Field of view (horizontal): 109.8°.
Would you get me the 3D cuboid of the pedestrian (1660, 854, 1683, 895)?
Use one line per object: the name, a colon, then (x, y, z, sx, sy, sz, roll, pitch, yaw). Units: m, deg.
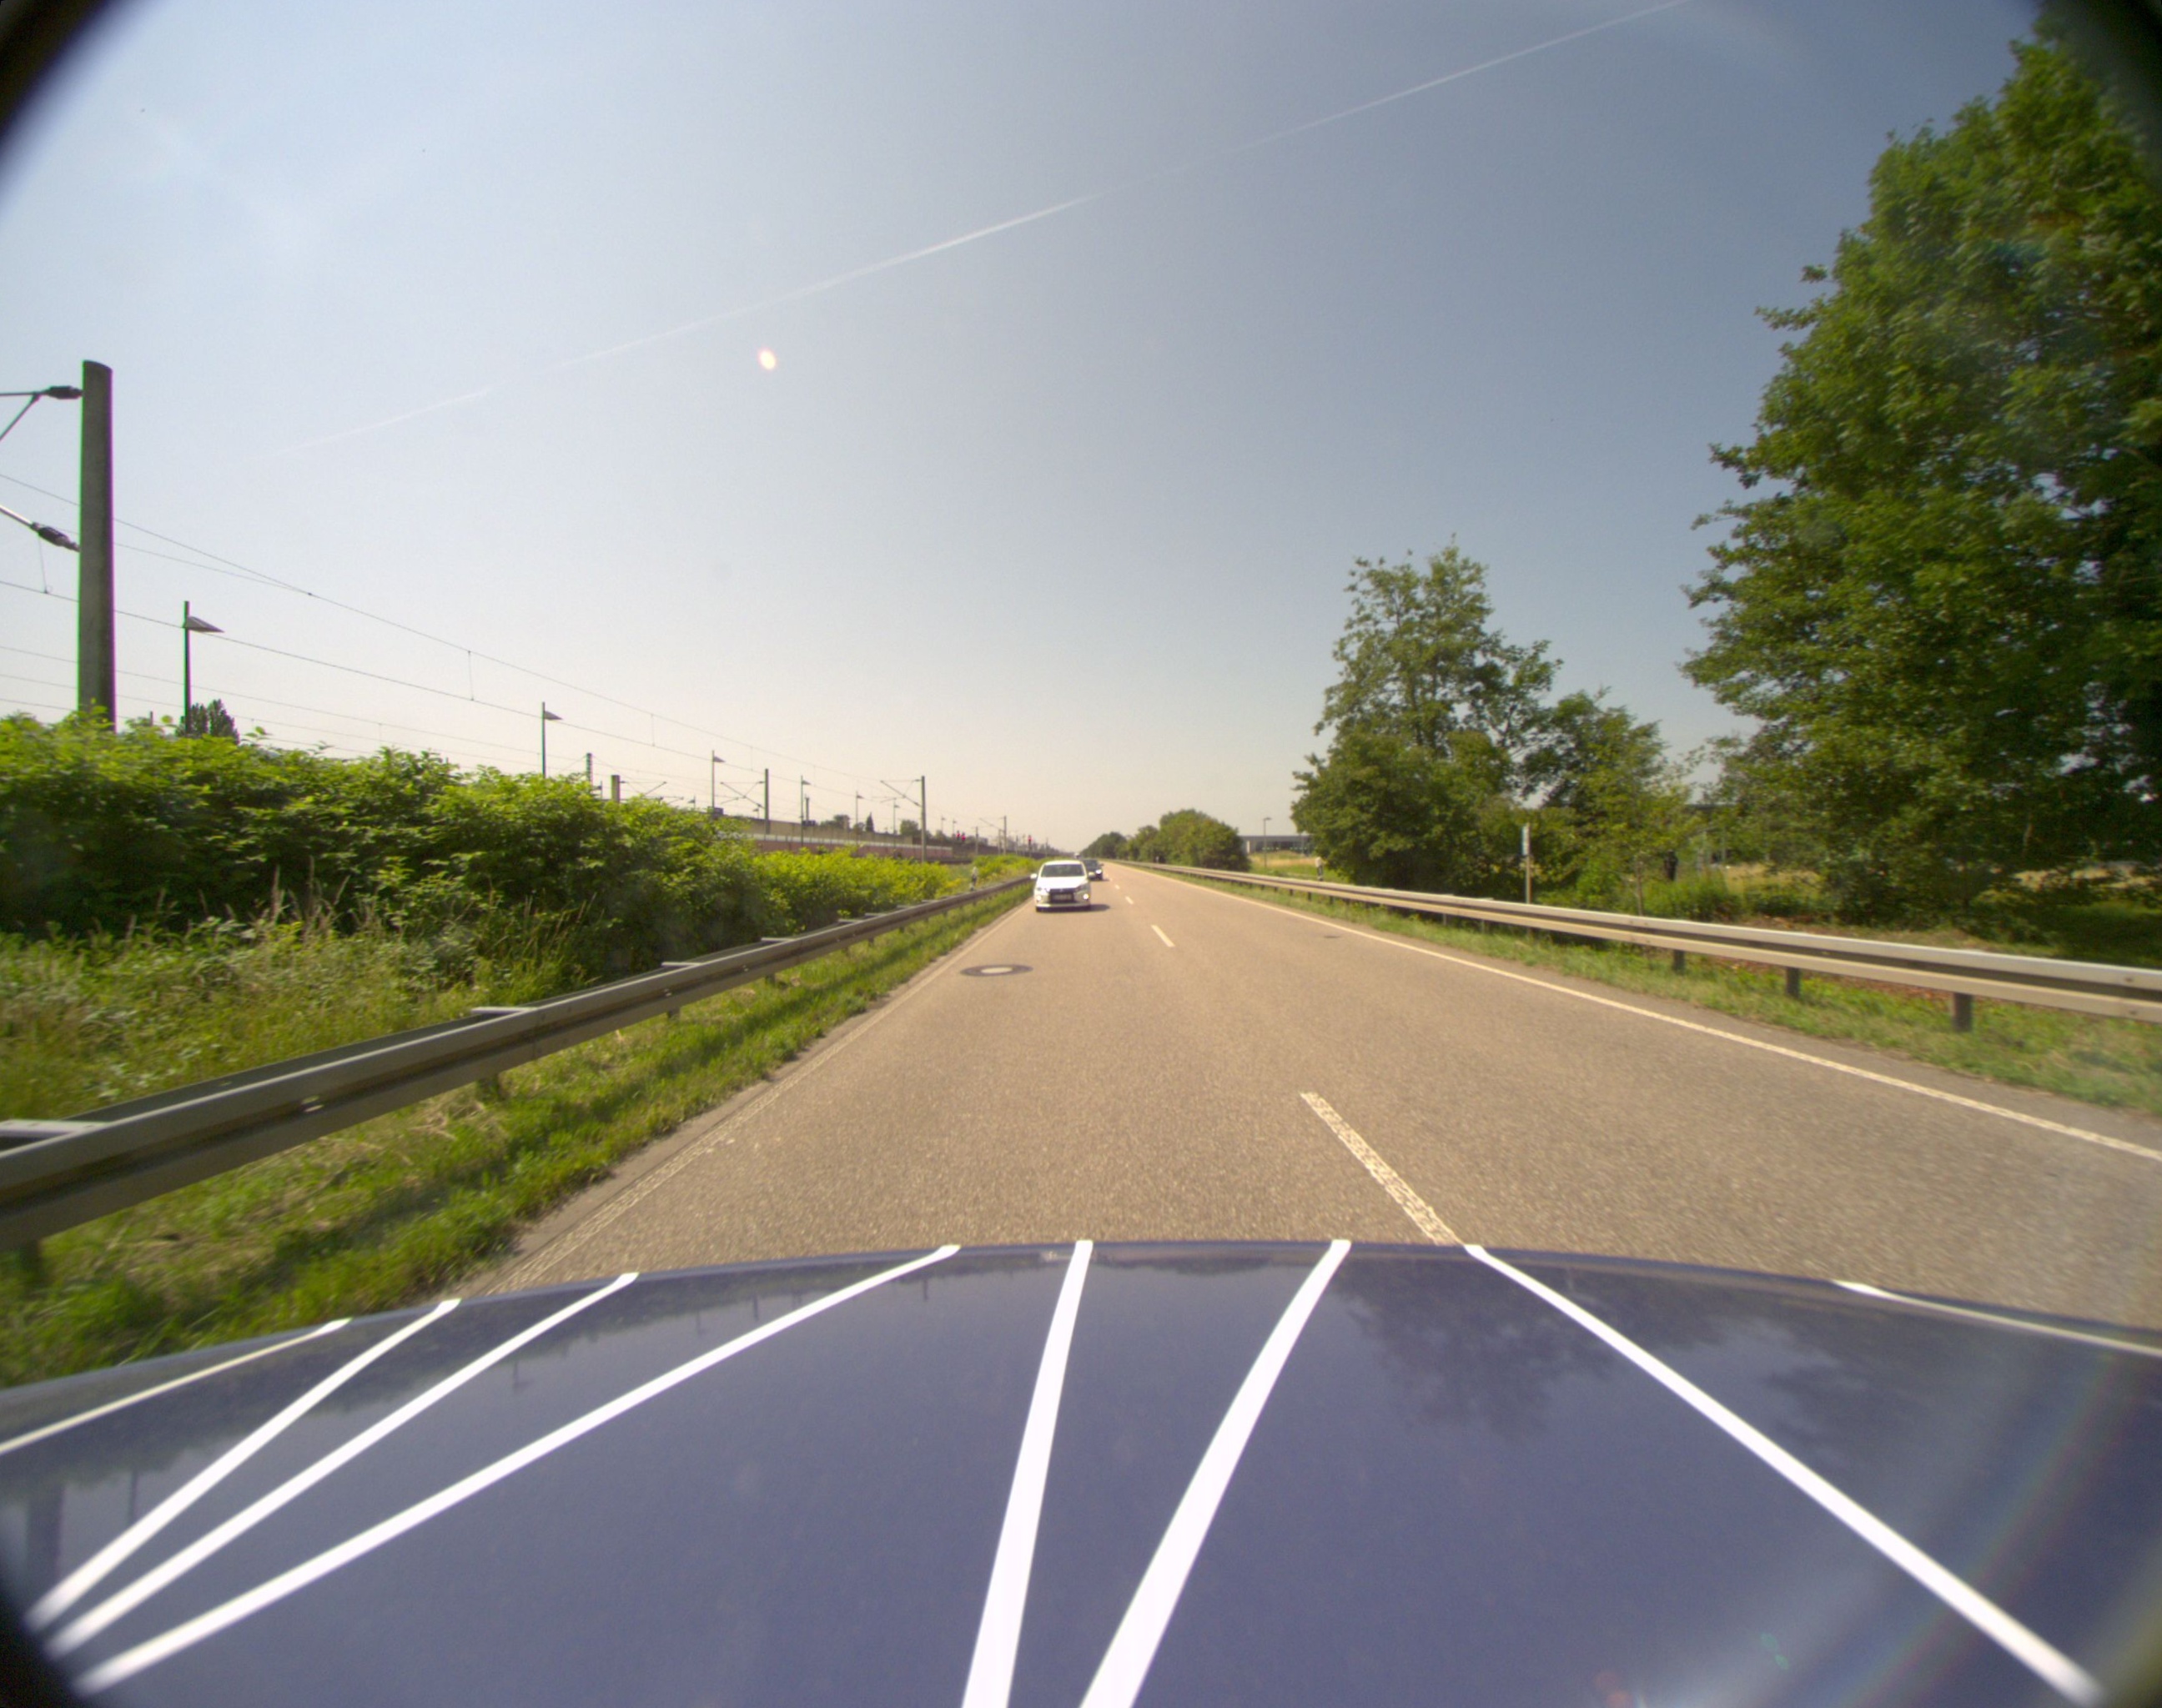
pedestrian: (25.776, 0.892, 33.175, 0.717, 1.738, 0.939, -1, 1, 33)

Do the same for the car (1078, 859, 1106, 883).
car: (0.697, 1.140, 51.762, 1.711, 1.470, 4.154, -1, 0, -1)

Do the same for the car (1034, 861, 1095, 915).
car: (-0.531, 0.980, 23.722, 1.701, 1.470, 4.154, -1, 0, -1)
